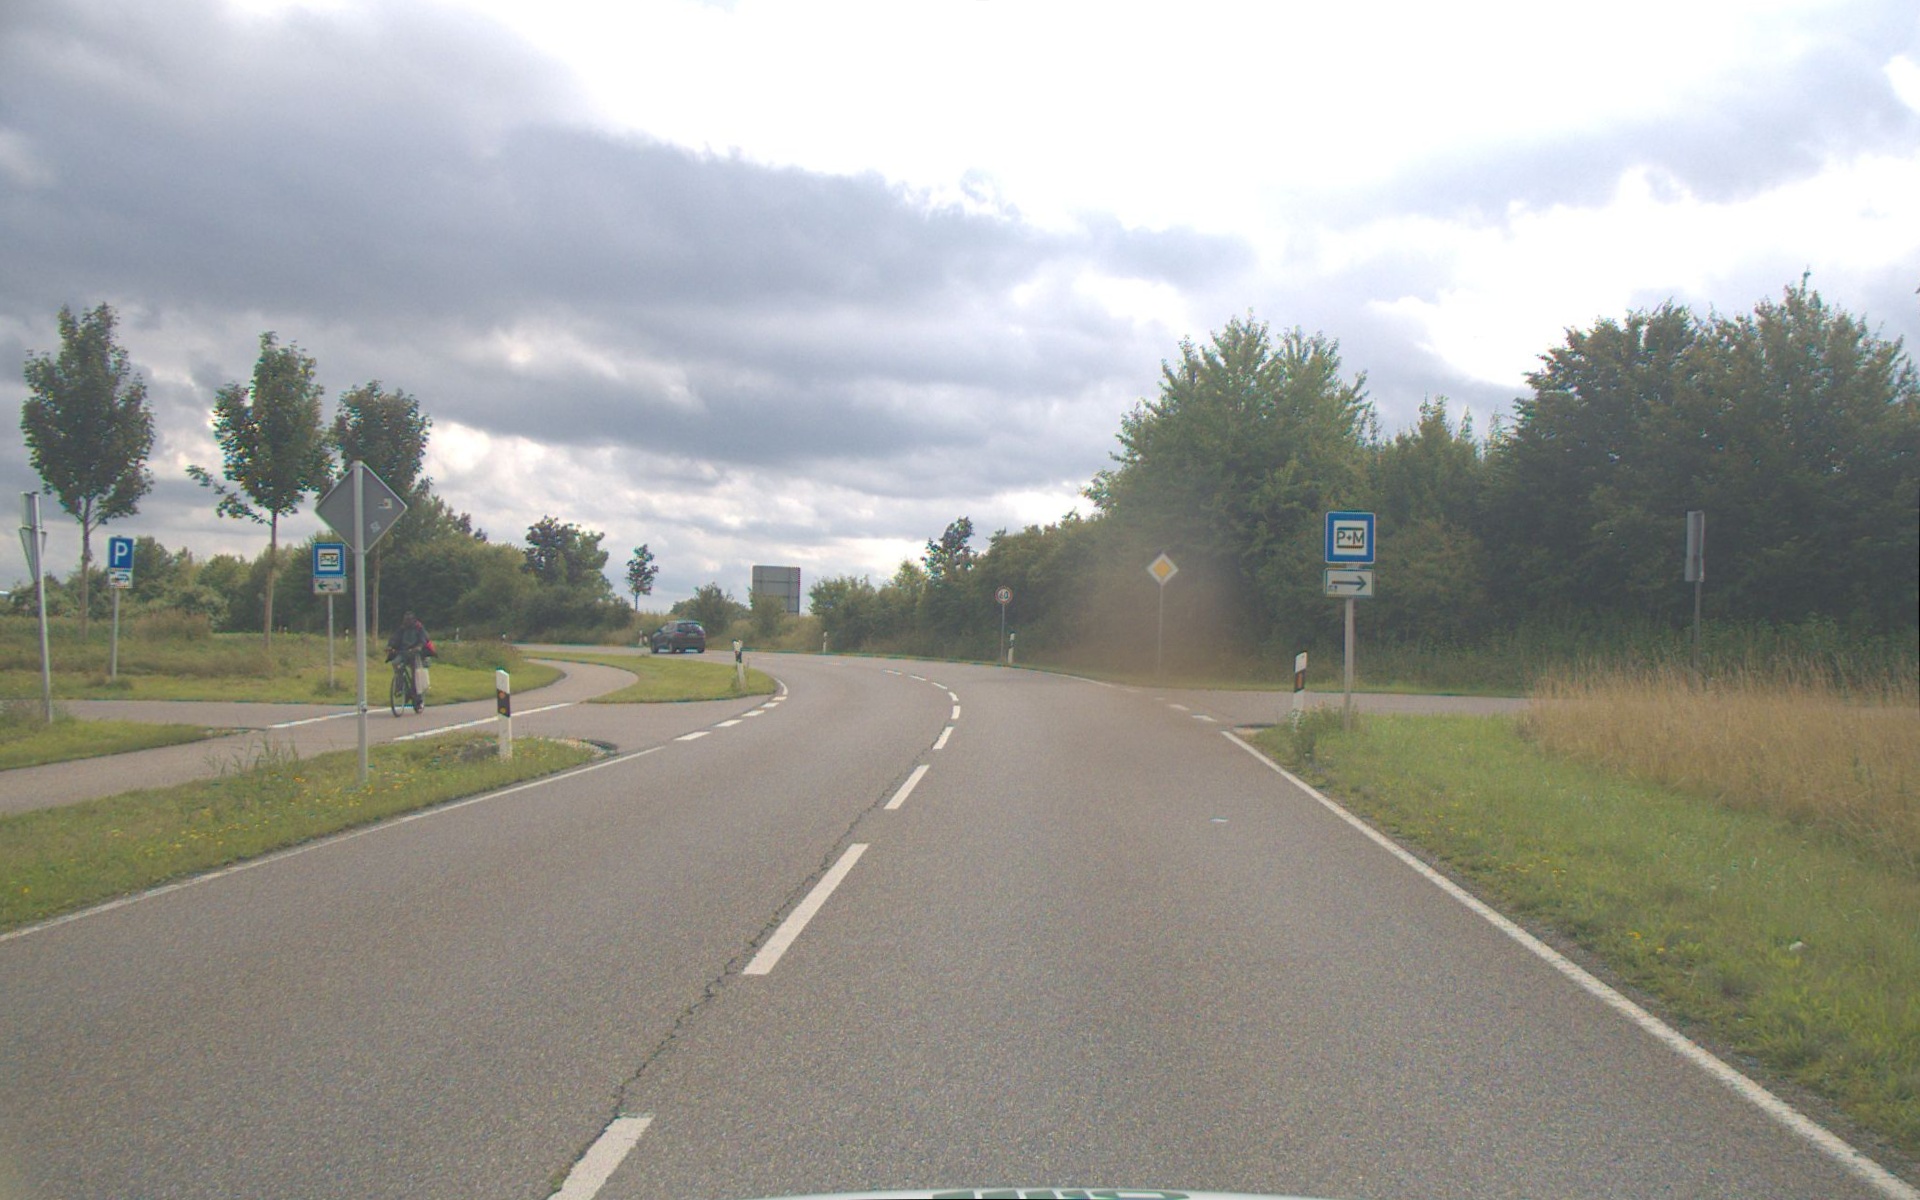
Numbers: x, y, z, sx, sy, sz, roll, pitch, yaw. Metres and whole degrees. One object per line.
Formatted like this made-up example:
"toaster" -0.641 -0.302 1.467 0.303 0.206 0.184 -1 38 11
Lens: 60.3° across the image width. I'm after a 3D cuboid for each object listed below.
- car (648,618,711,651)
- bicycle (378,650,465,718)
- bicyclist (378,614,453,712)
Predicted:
"car" -14.893 1.829 87.748 1.889 1.695 3.953 1 -1 -34
"bicycle" -9.027 1.385 27.802 0.622 1.050 2.191 0 -1 3
"bicyclist" -9.096 1.034 27.664 0.813 1.593 1.056 0 -1 5
